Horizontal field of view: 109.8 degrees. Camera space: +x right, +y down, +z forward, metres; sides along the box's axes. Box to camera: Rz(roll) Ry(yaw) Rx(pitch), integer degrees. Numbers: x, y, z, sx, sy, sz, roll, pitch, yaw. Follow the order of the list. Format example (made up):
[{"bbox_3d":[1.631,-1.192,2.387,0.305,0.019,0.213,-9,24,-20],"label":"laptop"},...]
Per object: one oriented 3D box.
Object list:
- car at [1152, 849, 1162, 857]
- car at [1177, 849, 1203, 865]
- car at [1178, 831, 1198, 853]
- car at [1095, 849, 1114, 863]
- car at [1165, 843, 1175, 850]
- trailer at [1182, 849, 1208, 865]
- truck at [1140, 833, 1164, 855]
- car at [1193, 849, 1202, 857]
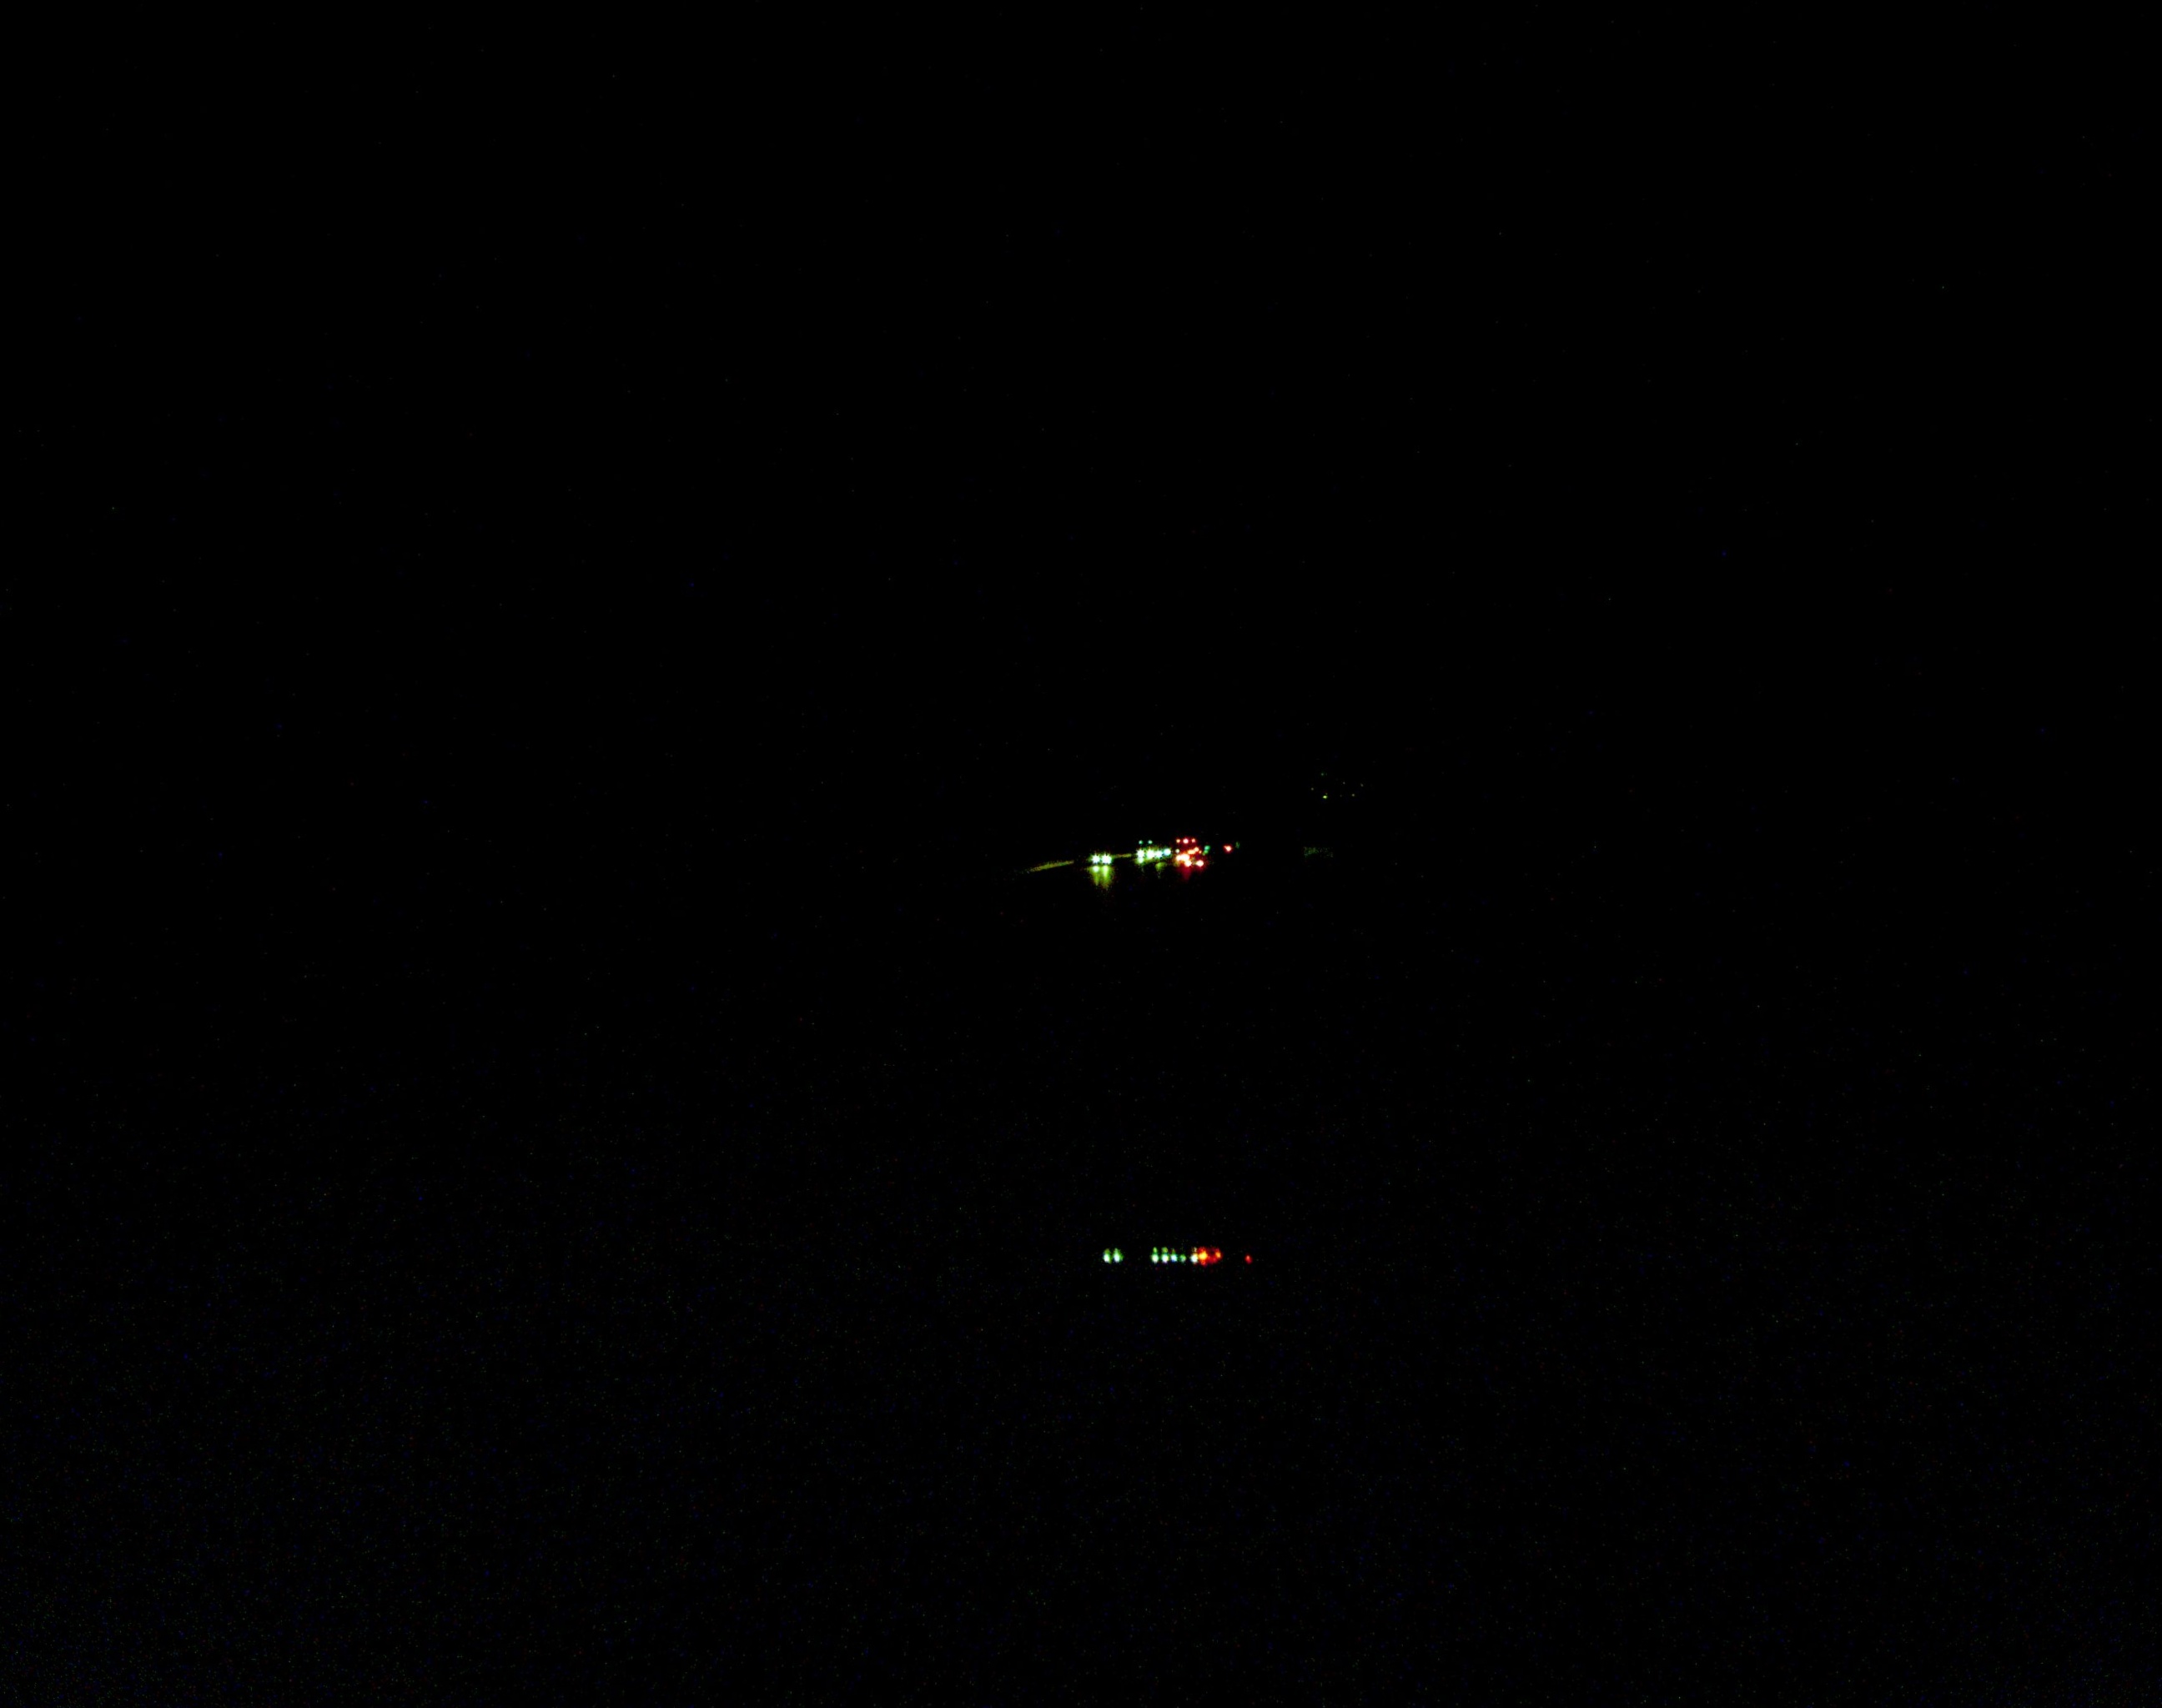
[{"bbox_3d":[14.167,-0.171,140.901,1.811,1.508,3.937,0,0,7],"label":"car"},{"bbox_3d":[10.199,0.246,71.271,1.917,1.418,4.953,-1,0,2],"label":"car"},{"bbox_3d":[15.865,-1.776,112.602,2.491,3.088,7.386,-1,2,5],"label":"car"},{"bbox_3d":[2.775,0.228,88.910,1.811,1.508,3.938,0,0,9],"label":"car"},{"bbox_3d":[21.776,-1.737,185.565,1.689,1.619,4.727,0,0,13],"label":"car"},{"bbox_3d":[10.066,0.251,67.124,1.888,1.418,3.351,-1,0,2],"label":"trailer"},{"bbox_3d":[15.384,-2.268,162.772,2.969,4.251,17.156,0,1,12],"label":"truck"},{"bbox_3d":[24.135,-0.238,157.145,1.687,1.450,4.203,0,1,11],"label":"car"}]
